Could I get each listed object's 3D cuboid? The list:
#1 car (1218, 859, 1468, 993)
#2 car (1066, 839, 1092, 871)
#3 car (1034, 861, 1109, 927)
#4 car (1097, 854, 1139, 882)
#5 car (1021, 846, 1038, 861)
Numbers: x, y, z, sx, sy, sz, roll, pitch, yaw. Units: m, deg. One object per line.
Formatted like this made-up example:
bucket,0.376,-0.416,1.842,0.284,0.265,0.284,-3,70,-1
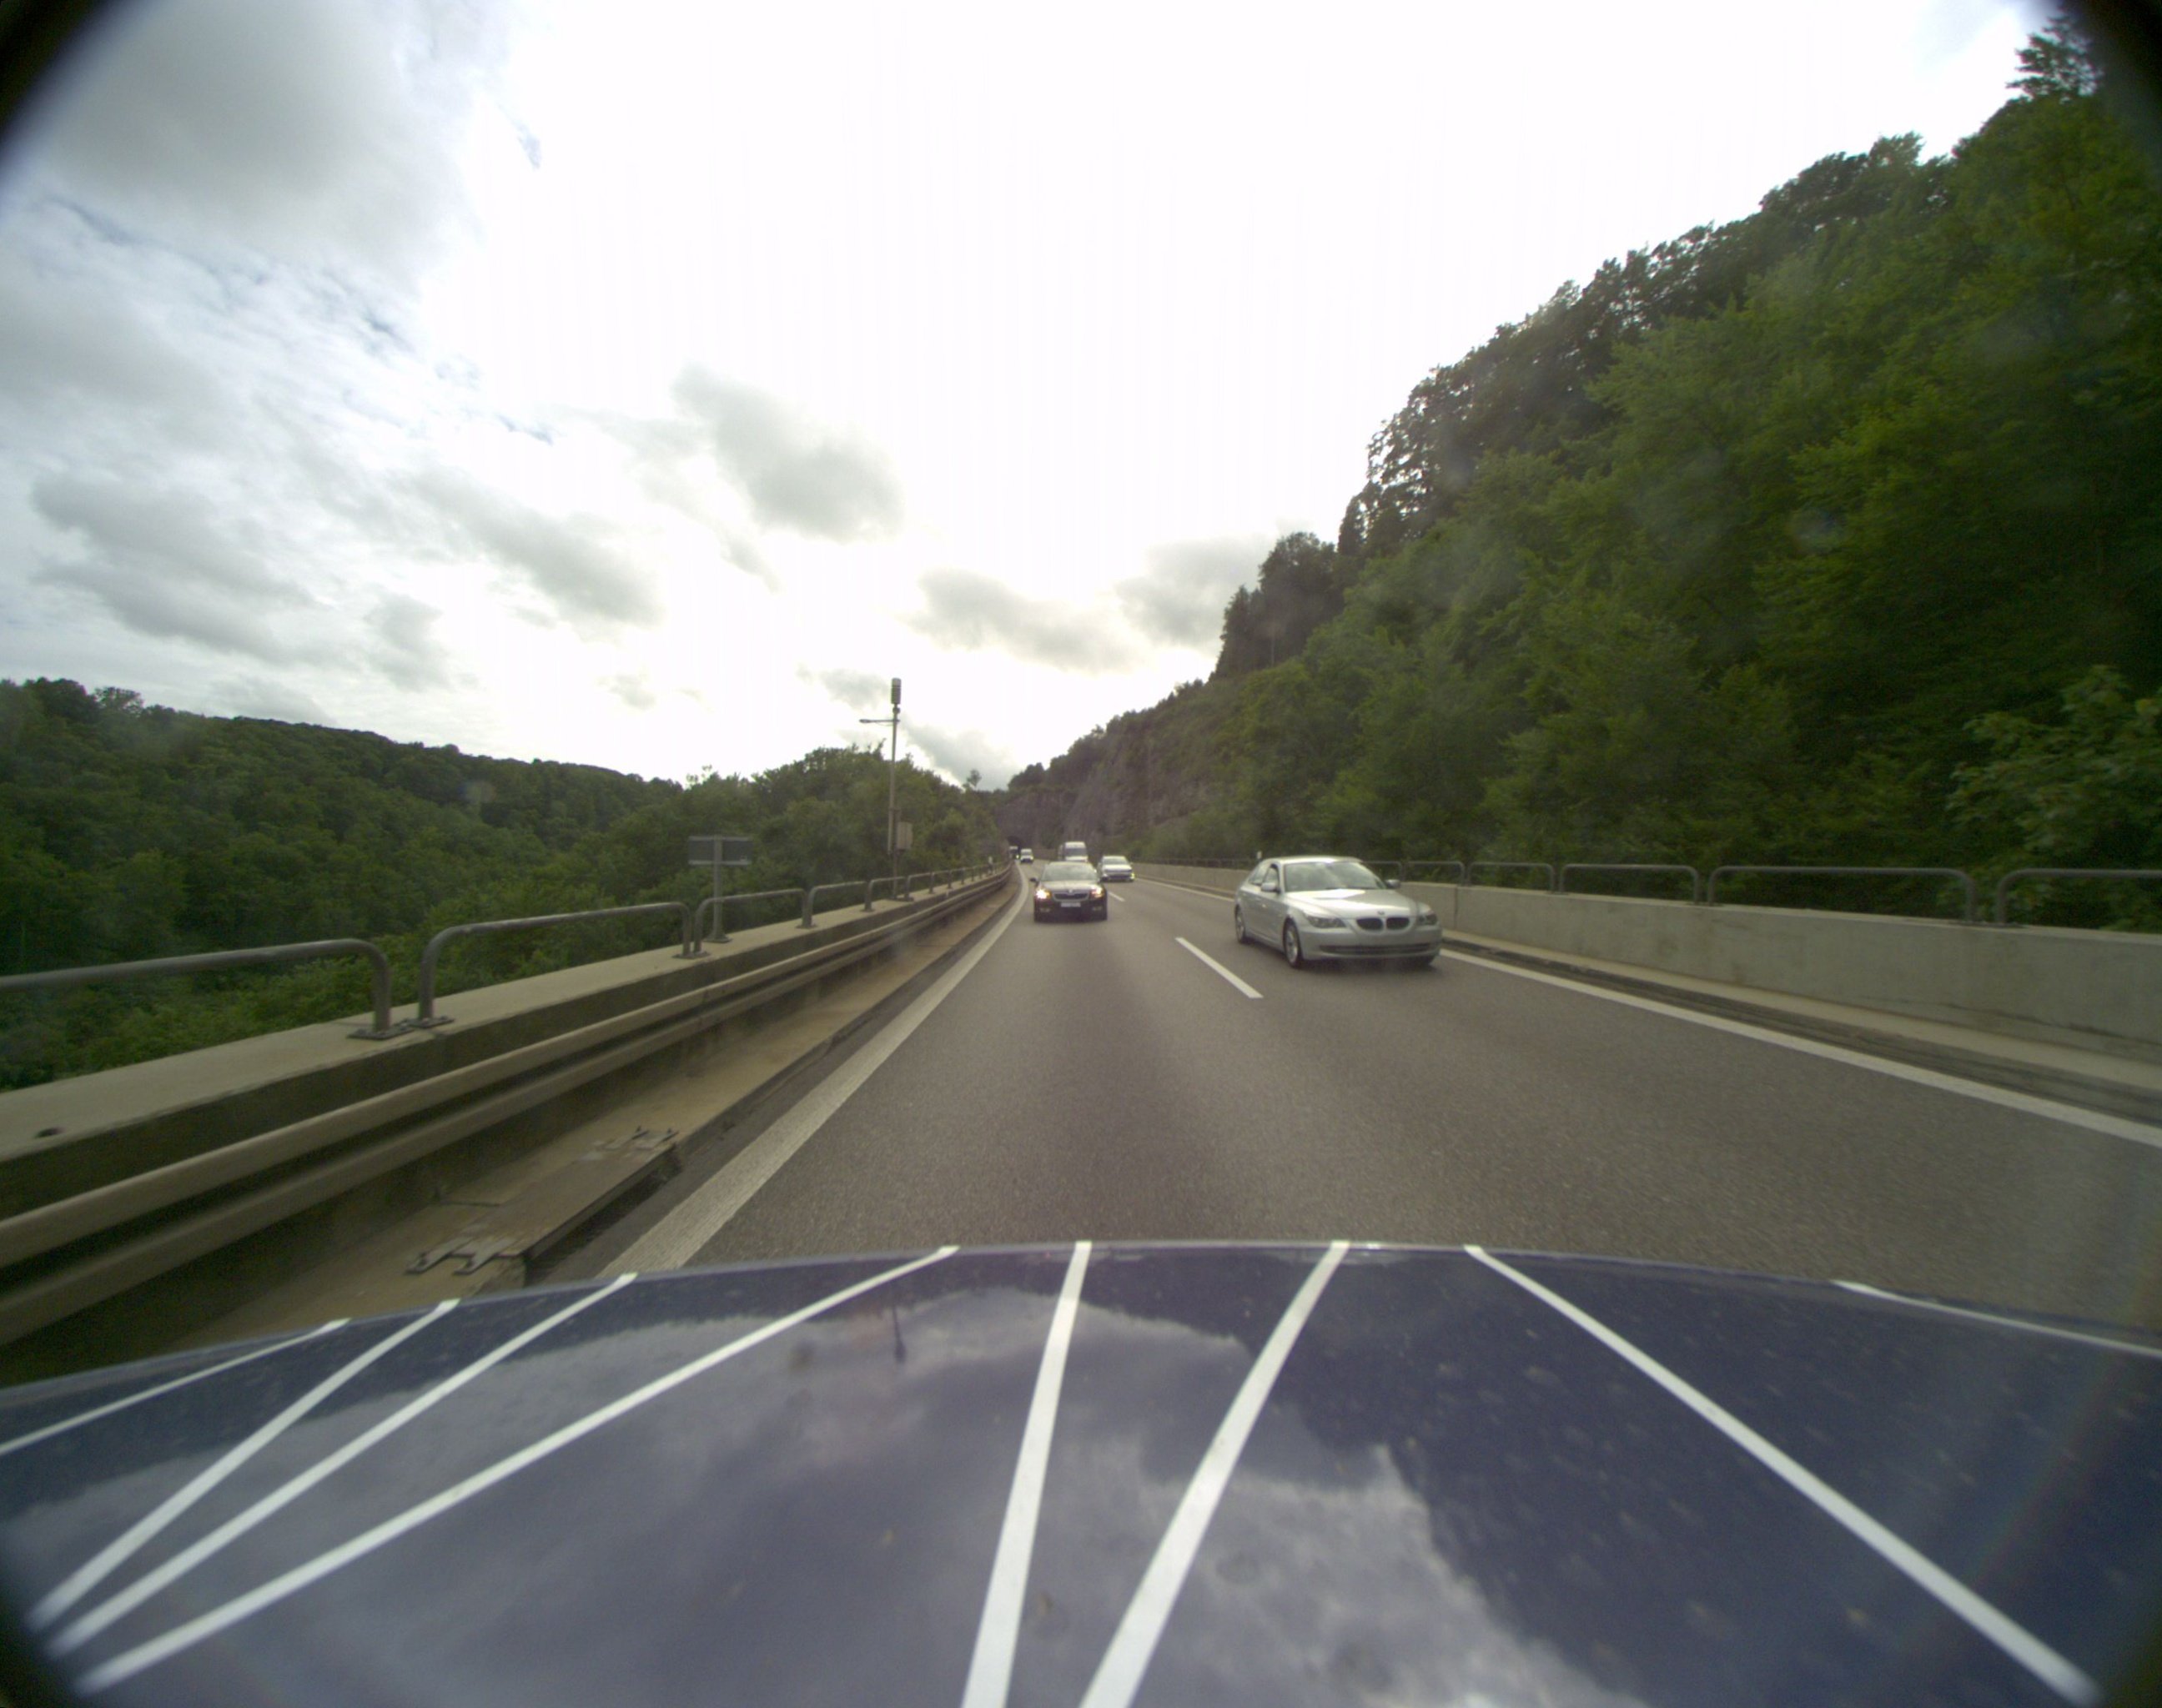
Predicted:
car,3.513,0.854,11.383,1.833,1.448,5.134,-2,0,-1
car,-0.222,0.016,64.193,1.869,2.444,4.980,-2,2,-3
car,-0.286,0.932,19.648,1.677,1.418,4.472,-2,0,-2
car,2.088,0.761,43.537,1.923,1.452,4.229,-2,0,-3
car,-8.917,-0.111,130.846,2.675,2.408,6.117,-2,0,-6
